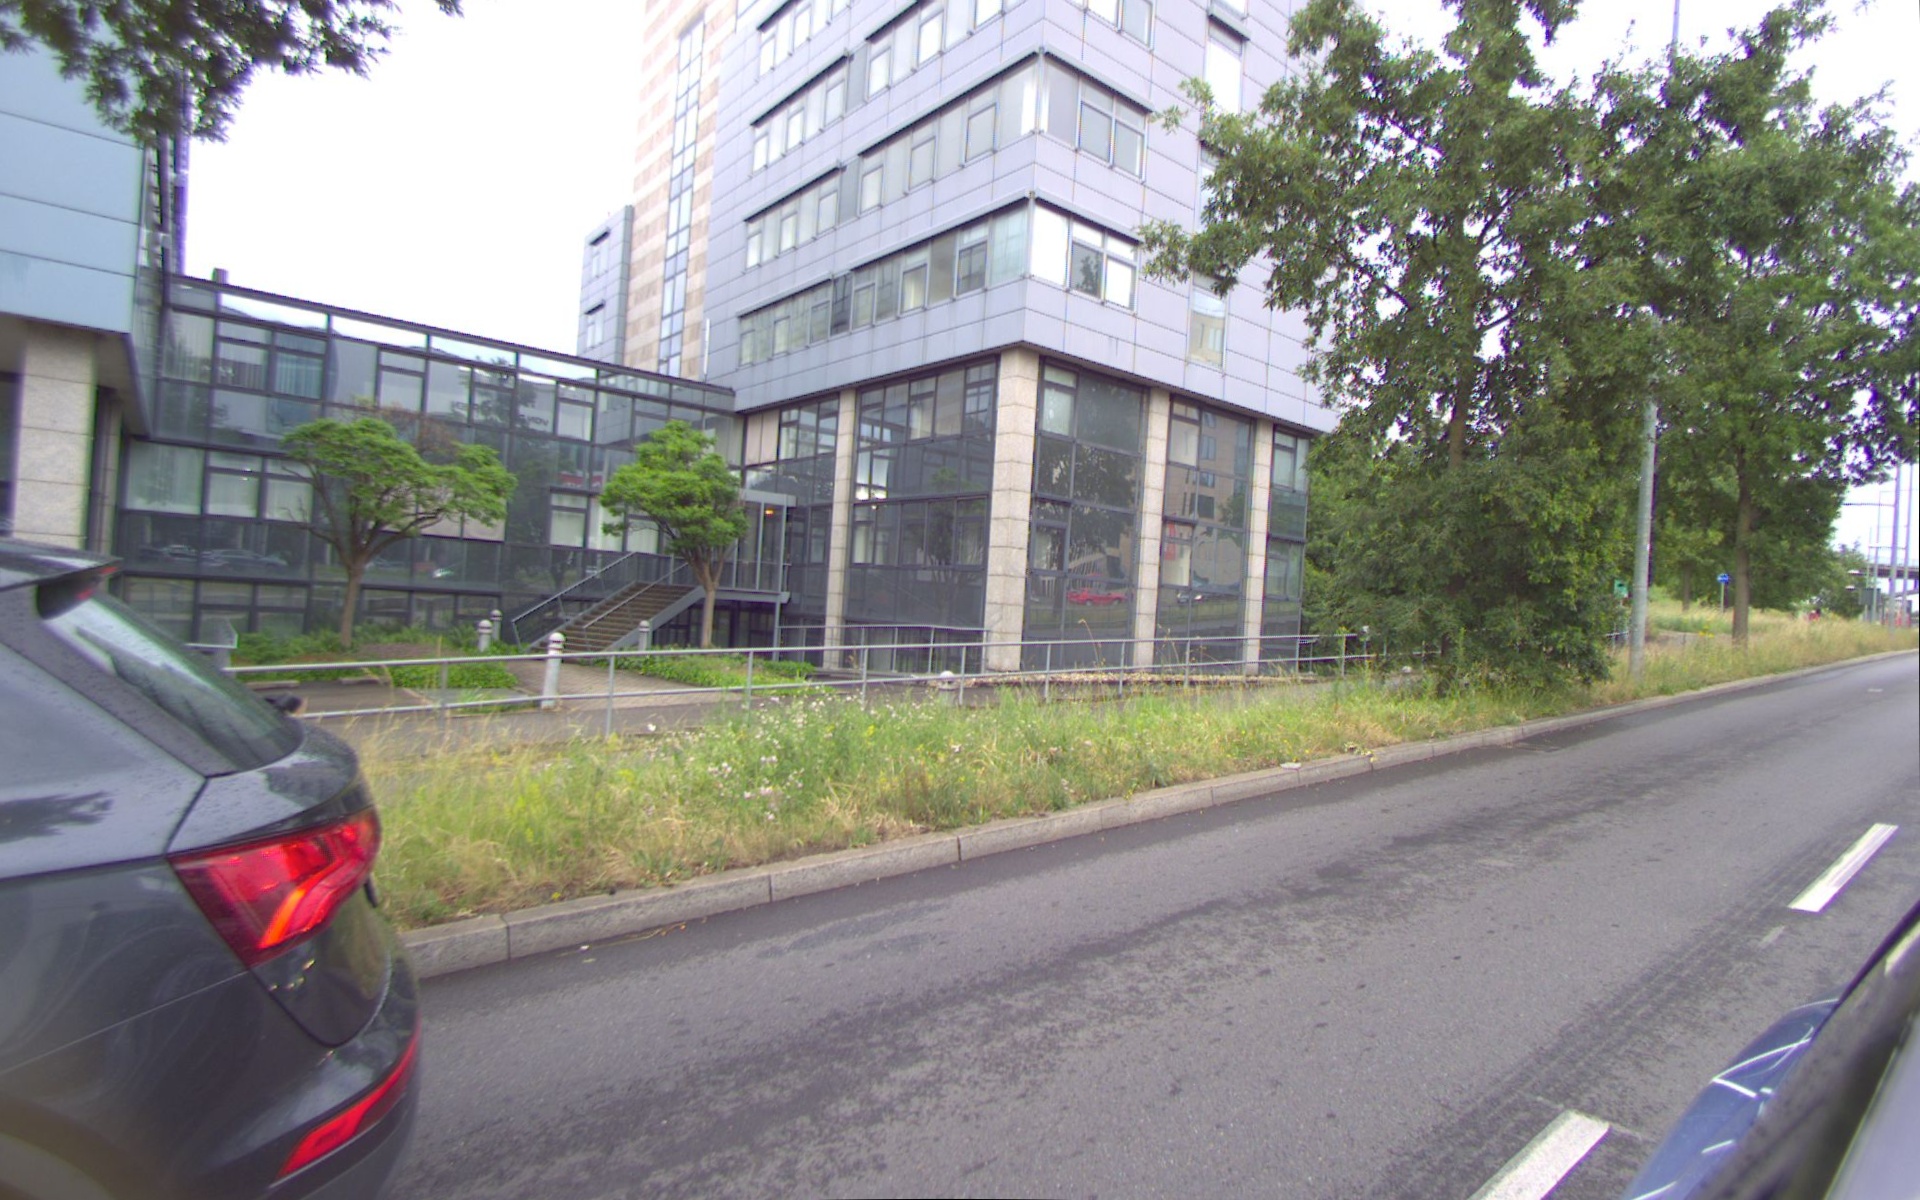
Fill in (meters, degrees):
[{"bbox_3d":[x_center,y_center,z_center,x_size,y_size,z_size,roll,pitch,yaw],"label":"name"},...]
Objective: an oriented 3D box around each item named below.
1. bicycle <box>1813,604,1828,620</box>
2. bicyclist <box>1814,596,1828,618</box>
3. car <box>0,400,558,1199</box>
[{"bbox_3d":[63.380,0.887,74.527,1.872,1.102,0.581,1,-1,-41],"label":"bicycle"},{"bbox_3d":[63.393,0.505,74.515,0.839,1.599,0.647,1,-1,-41],"label":"bicyclist"},{"bbox_3d":[-2.941,0.541,0.985,4.392,1.633,1.821,0,1,-41],"label":"car"}]
